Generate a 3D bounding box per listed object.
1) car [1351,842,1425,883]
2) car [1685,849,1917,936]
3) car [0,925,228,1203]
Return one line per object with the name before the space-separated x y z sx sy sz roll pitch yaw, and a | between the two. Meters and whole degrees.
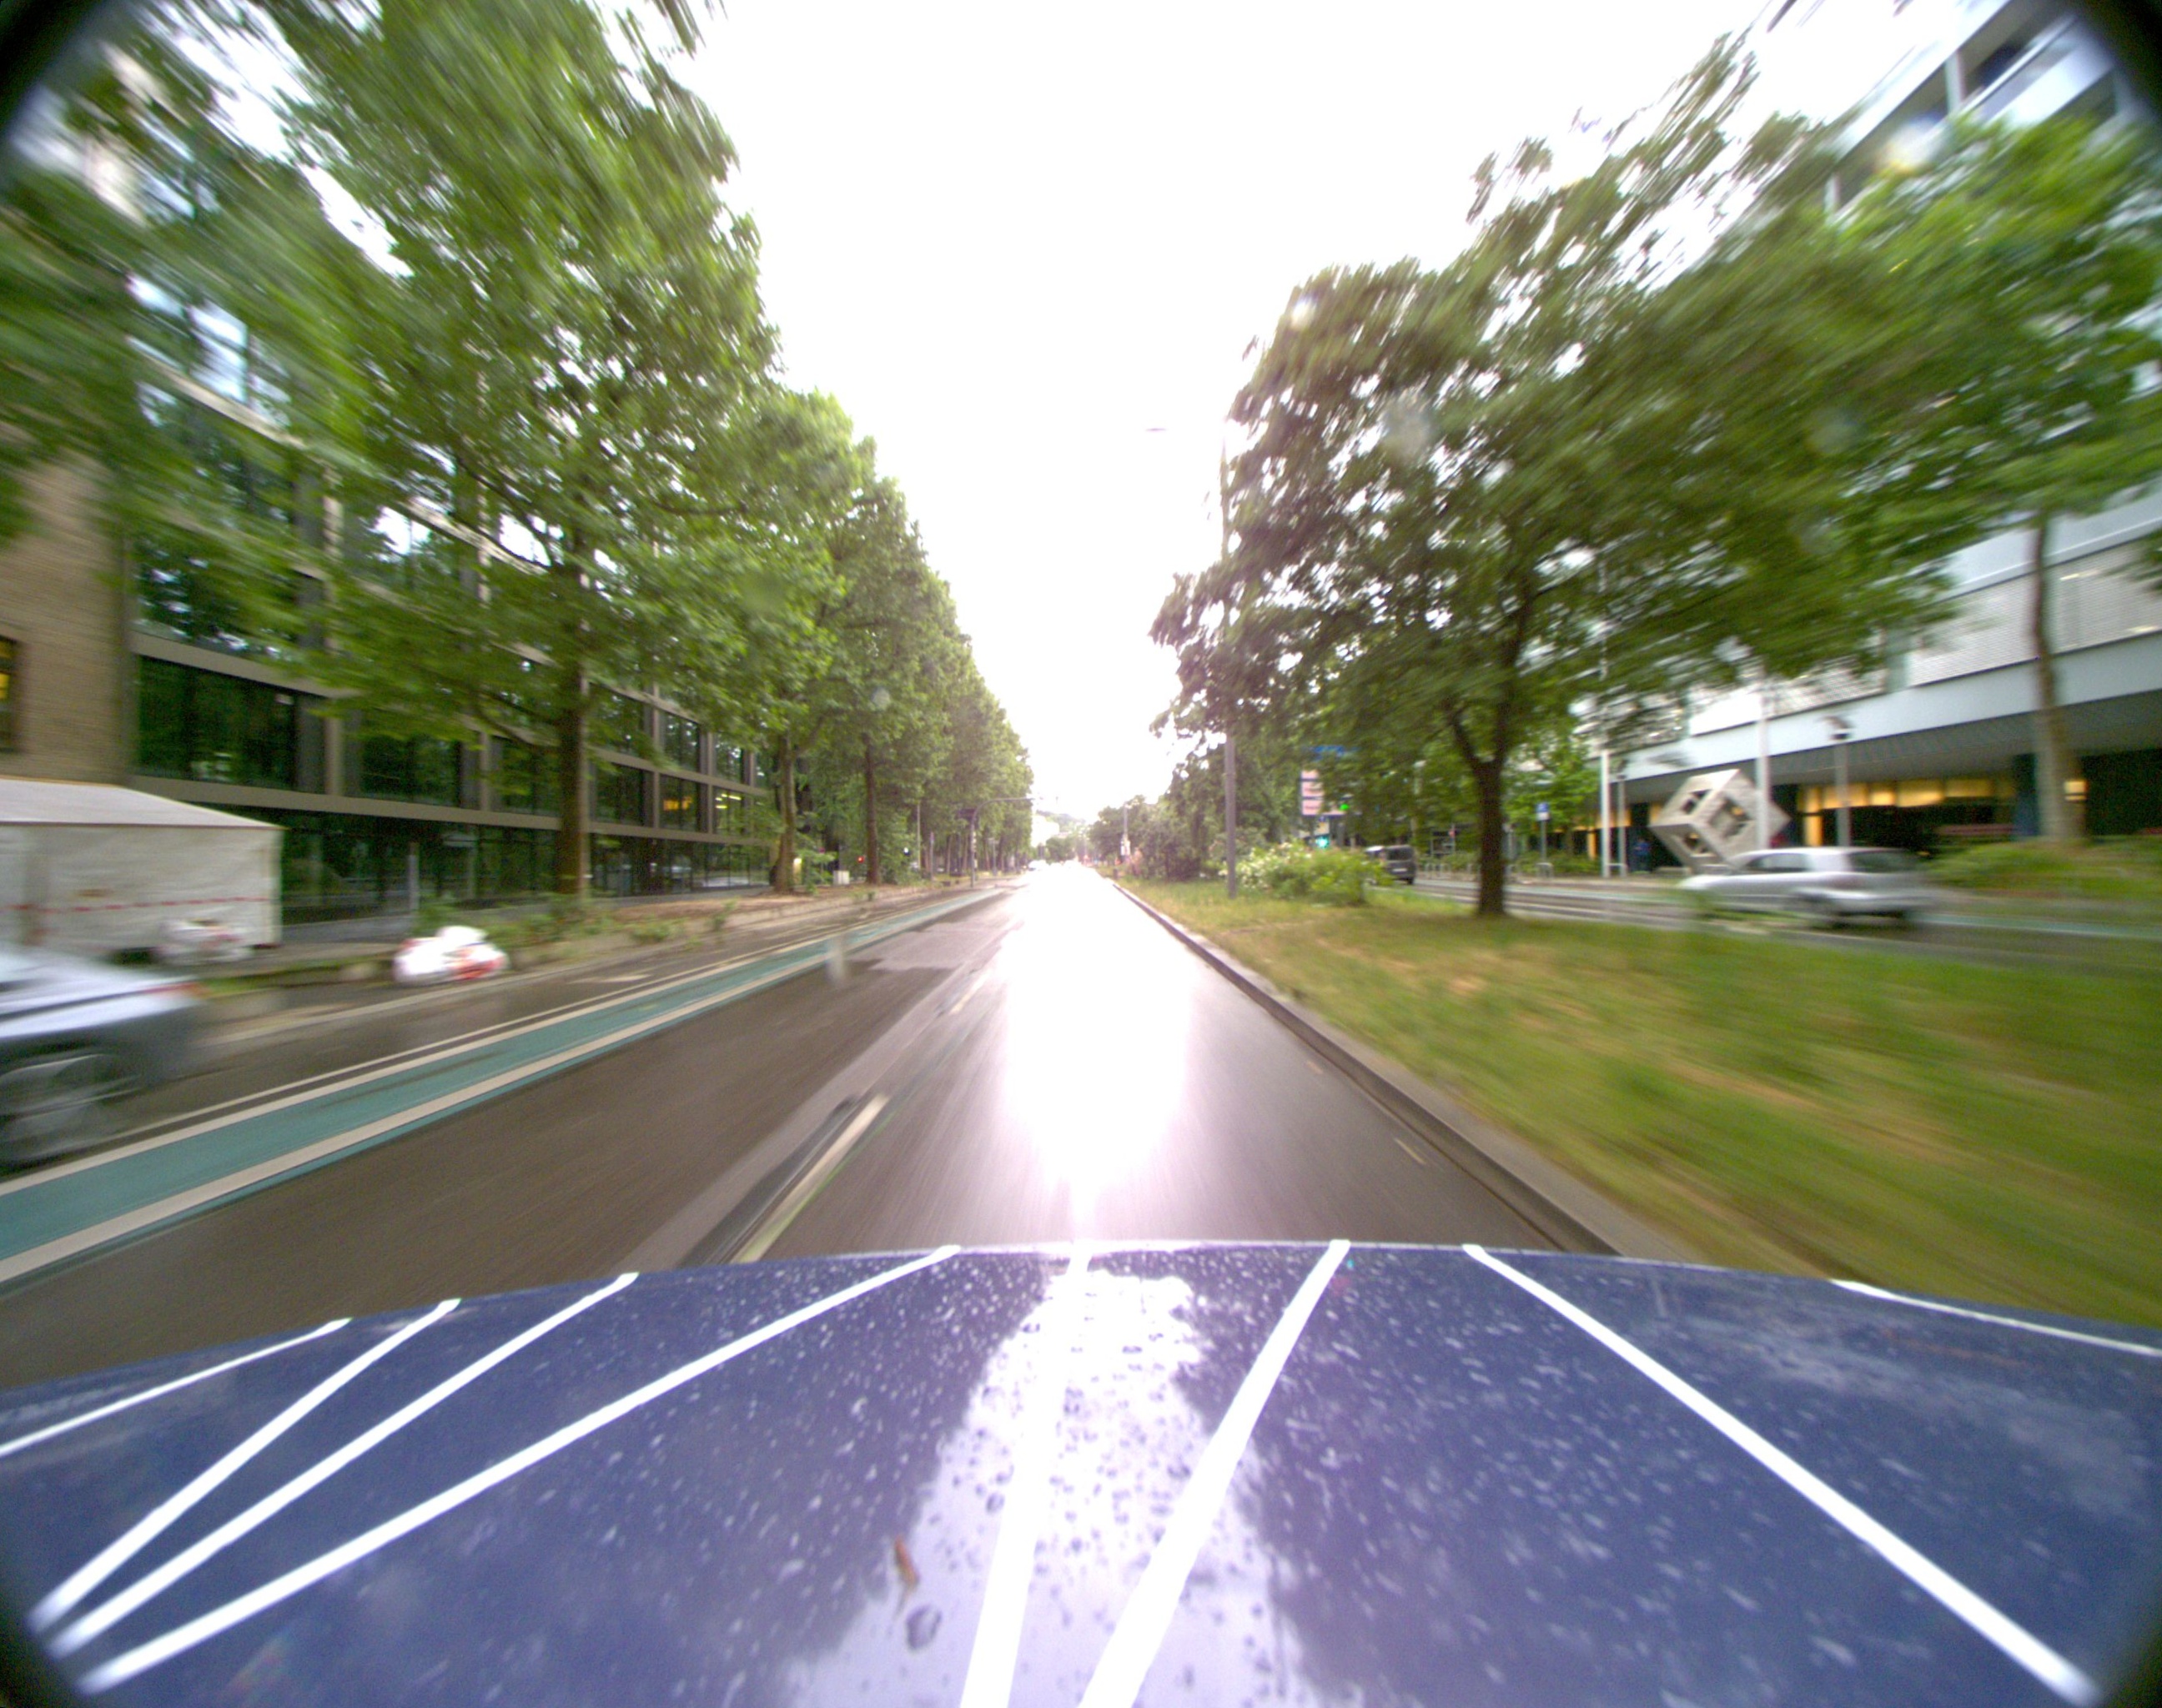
car | 14.581 0.400 36.354 1.998 1.791 4.283 -1 0 3
car | 13.493 0.657 14.528 1.163 1.454 3.561 -1 0 2
car | -6.851 1.247 2.999 1.747 1.424 4.585 -2 0 0
